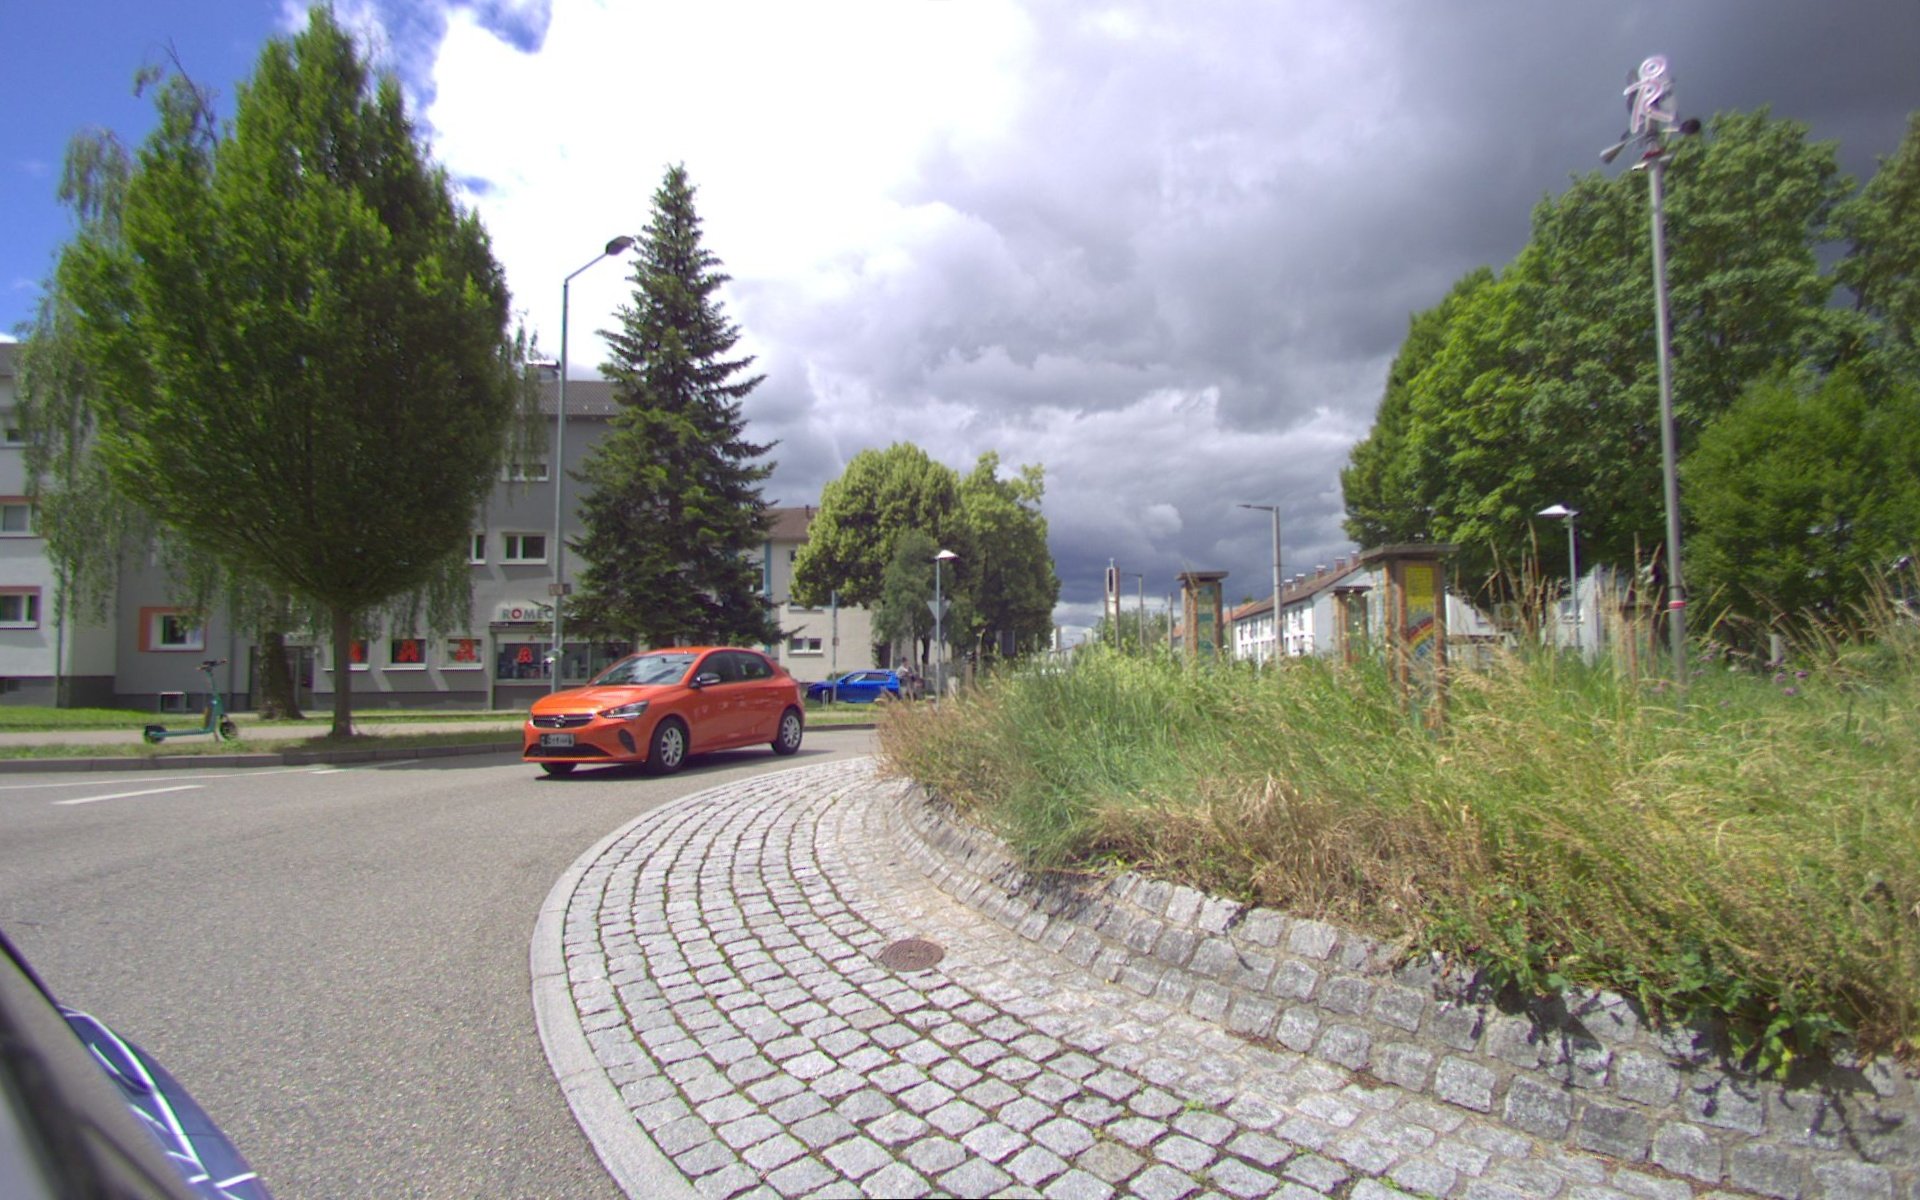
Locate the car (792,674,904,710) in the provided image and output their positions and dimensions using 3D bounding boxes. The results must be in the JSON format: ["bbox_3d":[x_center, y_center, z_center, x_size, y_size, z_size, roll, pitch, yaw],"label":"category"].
[{"bbox_3d":[-4.606,3.795,41.830,4.430,1.253,2.002,3,-5,-4],"label":"car"}]

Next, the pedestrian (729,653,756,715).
[{"bbox_3d":[-7.295,2.819,34.018,0.646,2.029,1.047,1,-5,-1],"label":"pedestrian"}]

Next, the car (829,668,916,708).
[{"bbox_3d":[-3.863,3.930,45.115,3.686,1.569,2.032,3,-5,-2],"label":"car"}]

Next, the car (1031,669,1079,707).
[{"bbox_3d":[4.247,3.968,45.755,1.973,1.620,3.996,0,-4,2],"label":"car"}]

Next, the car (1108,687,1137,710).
[{"bbox_3d":[11.390,6.882,71.129,1.837,1.466,4.377,-2,-5,7],"label":"car"}]

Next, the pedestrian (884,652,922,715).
[{"bbox_3d":[-1.824,2.682,32.450,0.926,1.971,0.845,3,-5,-27],"label":"pedestrian"}]

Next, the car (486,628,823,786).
[{"bbox_3d":[-3.470,1.227,12.322,1.756,1.569,3.968,-1,-5,23],"label":"car"}]

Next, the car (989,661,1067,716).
[{"bbox_3d":[1.974,2.450,28.418,1.746,1.408,3.986,0,-4,10],"label":"car"}]

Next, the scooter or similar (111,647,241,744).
[{"bbox_3d":[-11.459,1.393,14.817,1.368,1.353,0.486,6,-7,-44],"label":"scooter or similar"}]

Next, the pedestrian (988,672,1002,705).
[{"bbox_3d":[1.835,4.604,52.804,0.675,1.673,0.831,1,-4,-1],"label":"pedestrian"}]
